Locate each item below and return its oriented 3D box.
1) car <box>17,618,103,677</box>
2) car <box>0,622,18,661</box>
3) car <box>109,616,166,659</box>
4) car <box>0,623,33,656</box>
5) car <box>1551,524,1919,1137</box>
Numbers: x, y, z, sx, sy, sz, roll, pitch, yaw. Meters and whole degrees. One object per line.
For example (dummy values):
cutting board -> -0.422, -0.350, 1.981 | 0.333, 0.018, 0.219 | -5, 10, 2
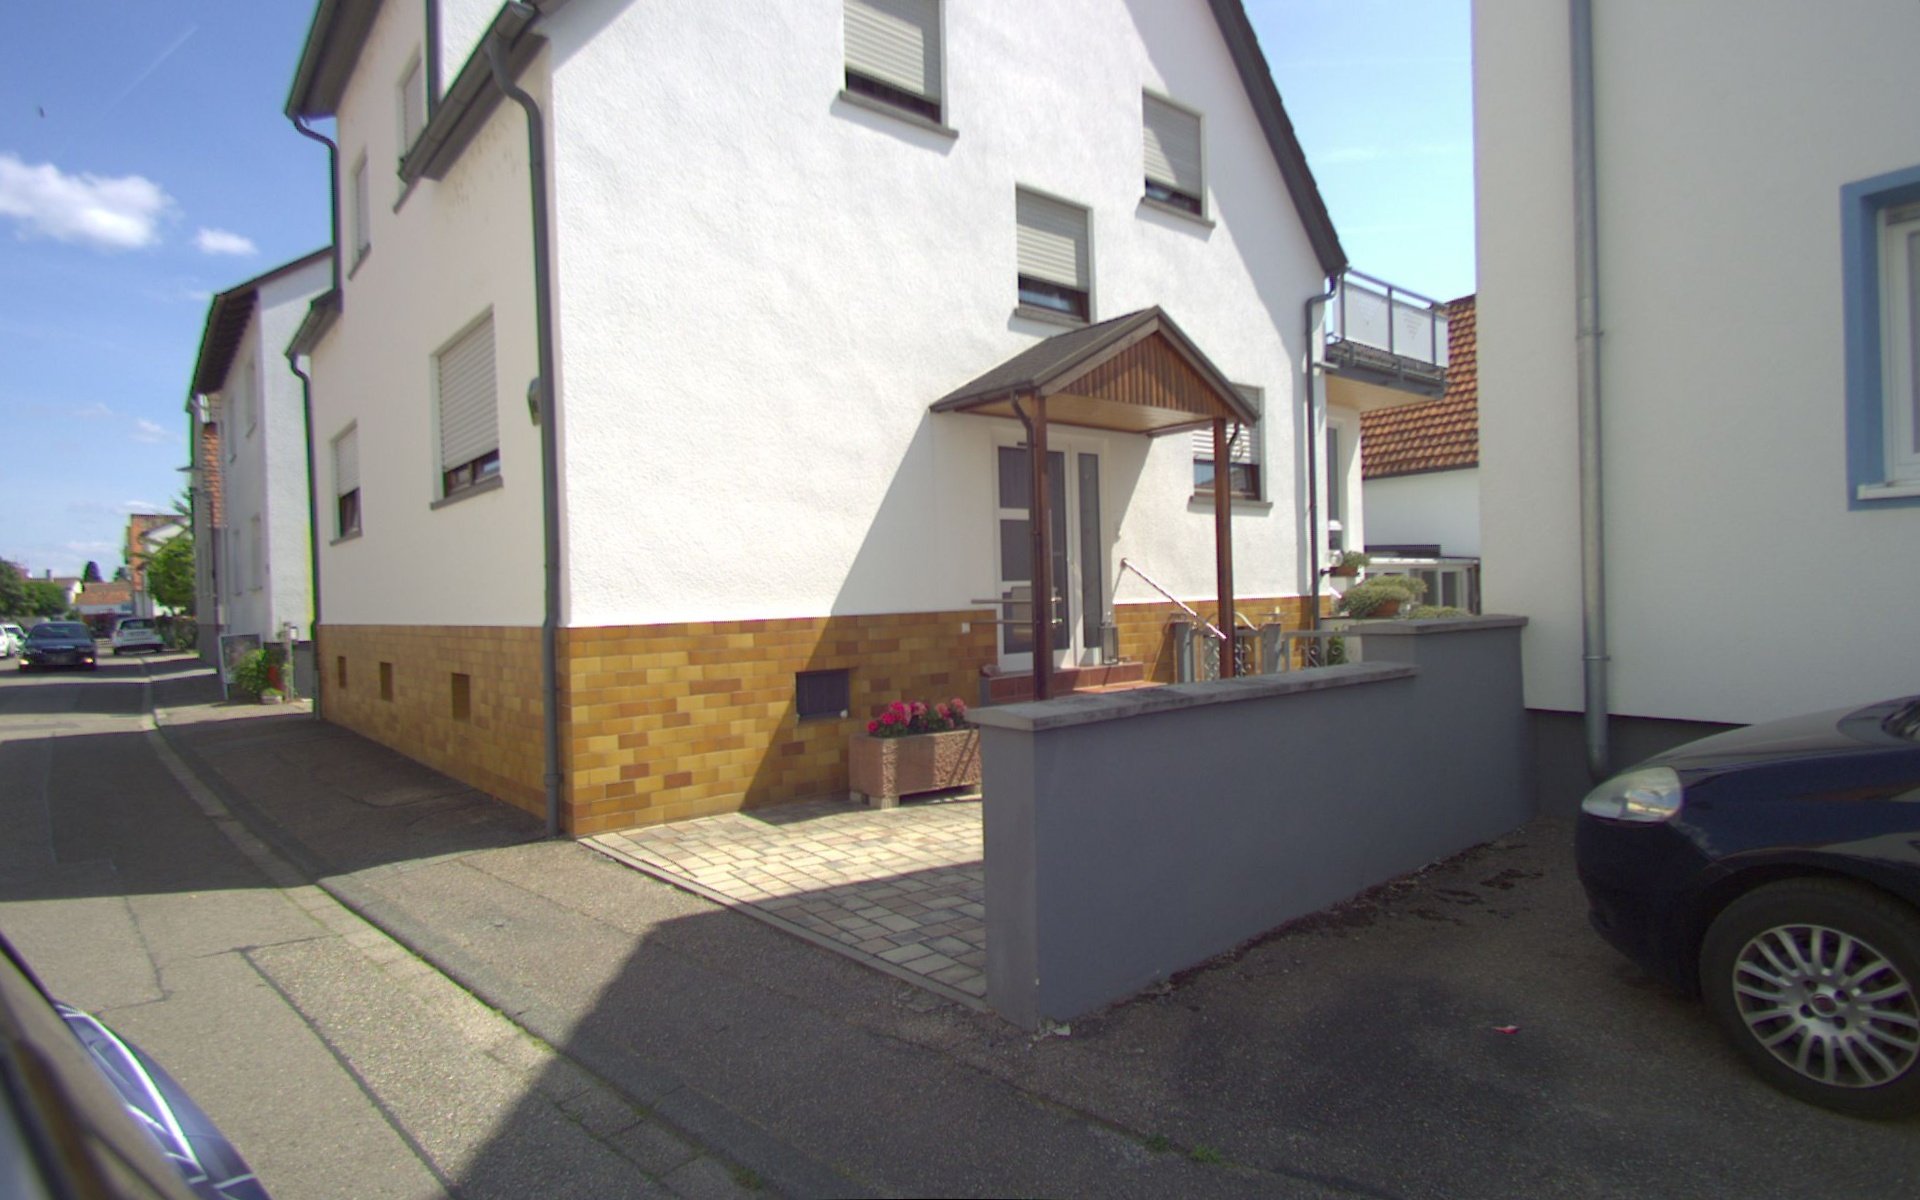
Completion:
car -> -27.275, 1.375, 30.774 | 1.758, 1.547, 4.718 | -2, 1, -40
car -> -40.513, 1.762, 41.969 | 1.758, 1.511, 4.046 | -5, 3, -40
car -> -36.186, 1.606, 44.521 | 1.758, 1.621, 4.007 | -5, 3, -40
car -> -48.589, 2.036, 51.507 | 1.758, 1.511, 4.046 | -5, 3, -40
car -> 3.545, 0.508, 1.956 | 1.615, 1.466, 3.797 | -2, 0, -33
